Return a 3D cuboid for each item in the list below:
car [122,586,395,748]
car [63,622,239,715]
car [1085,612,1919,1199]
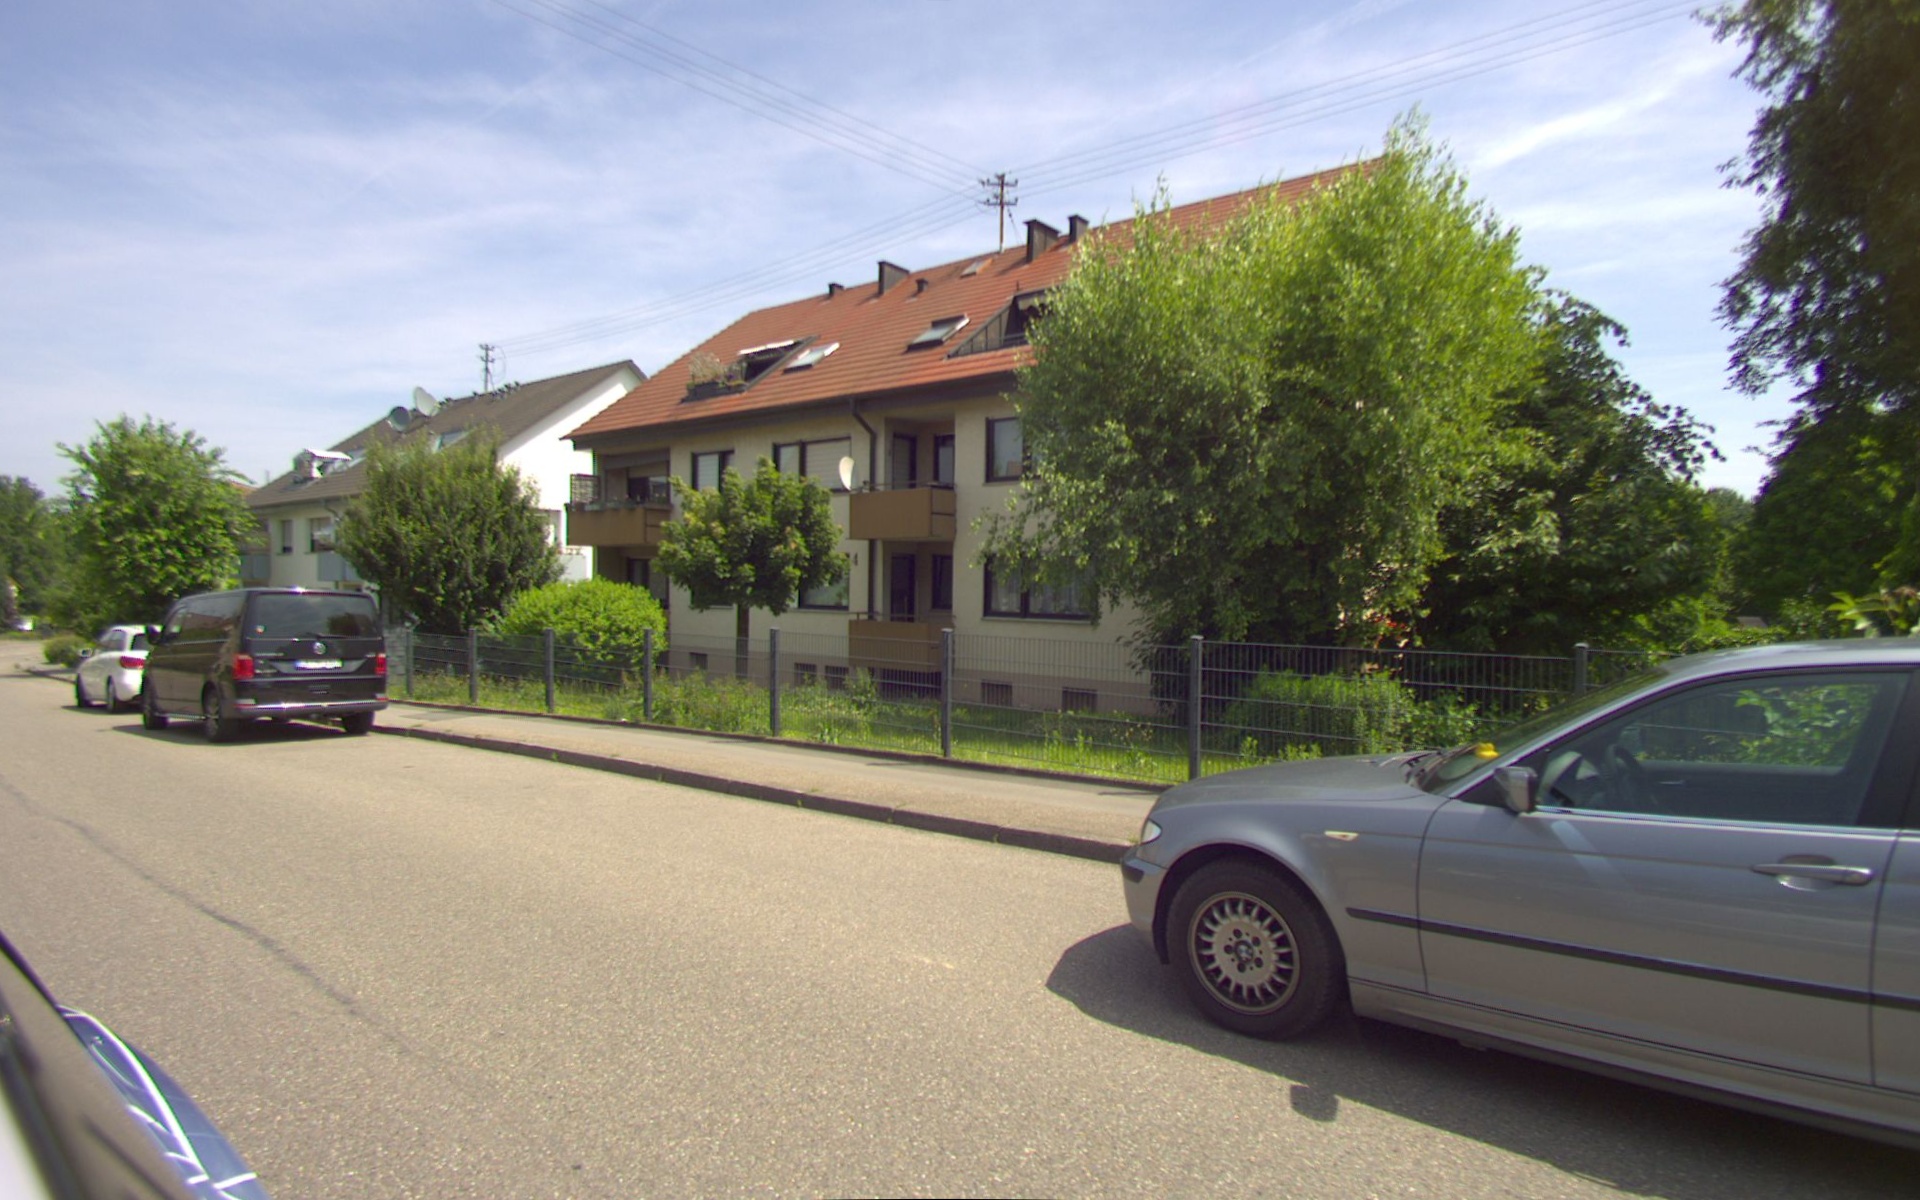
[{"bbox_3d":[-10.048,0.893,14.357,4.865,1.935,1.878,-2,-3,39],"label":"car"},{"bbox_3d":[-15.430,1.243,19.232,4.238,1.561,1.793,-2,-2,39],"label":"car"},{"bbox_3d":[2.697,0.747,3.063,4.407,1.405,1.761,-1,-2,42],"label":"car"}]
